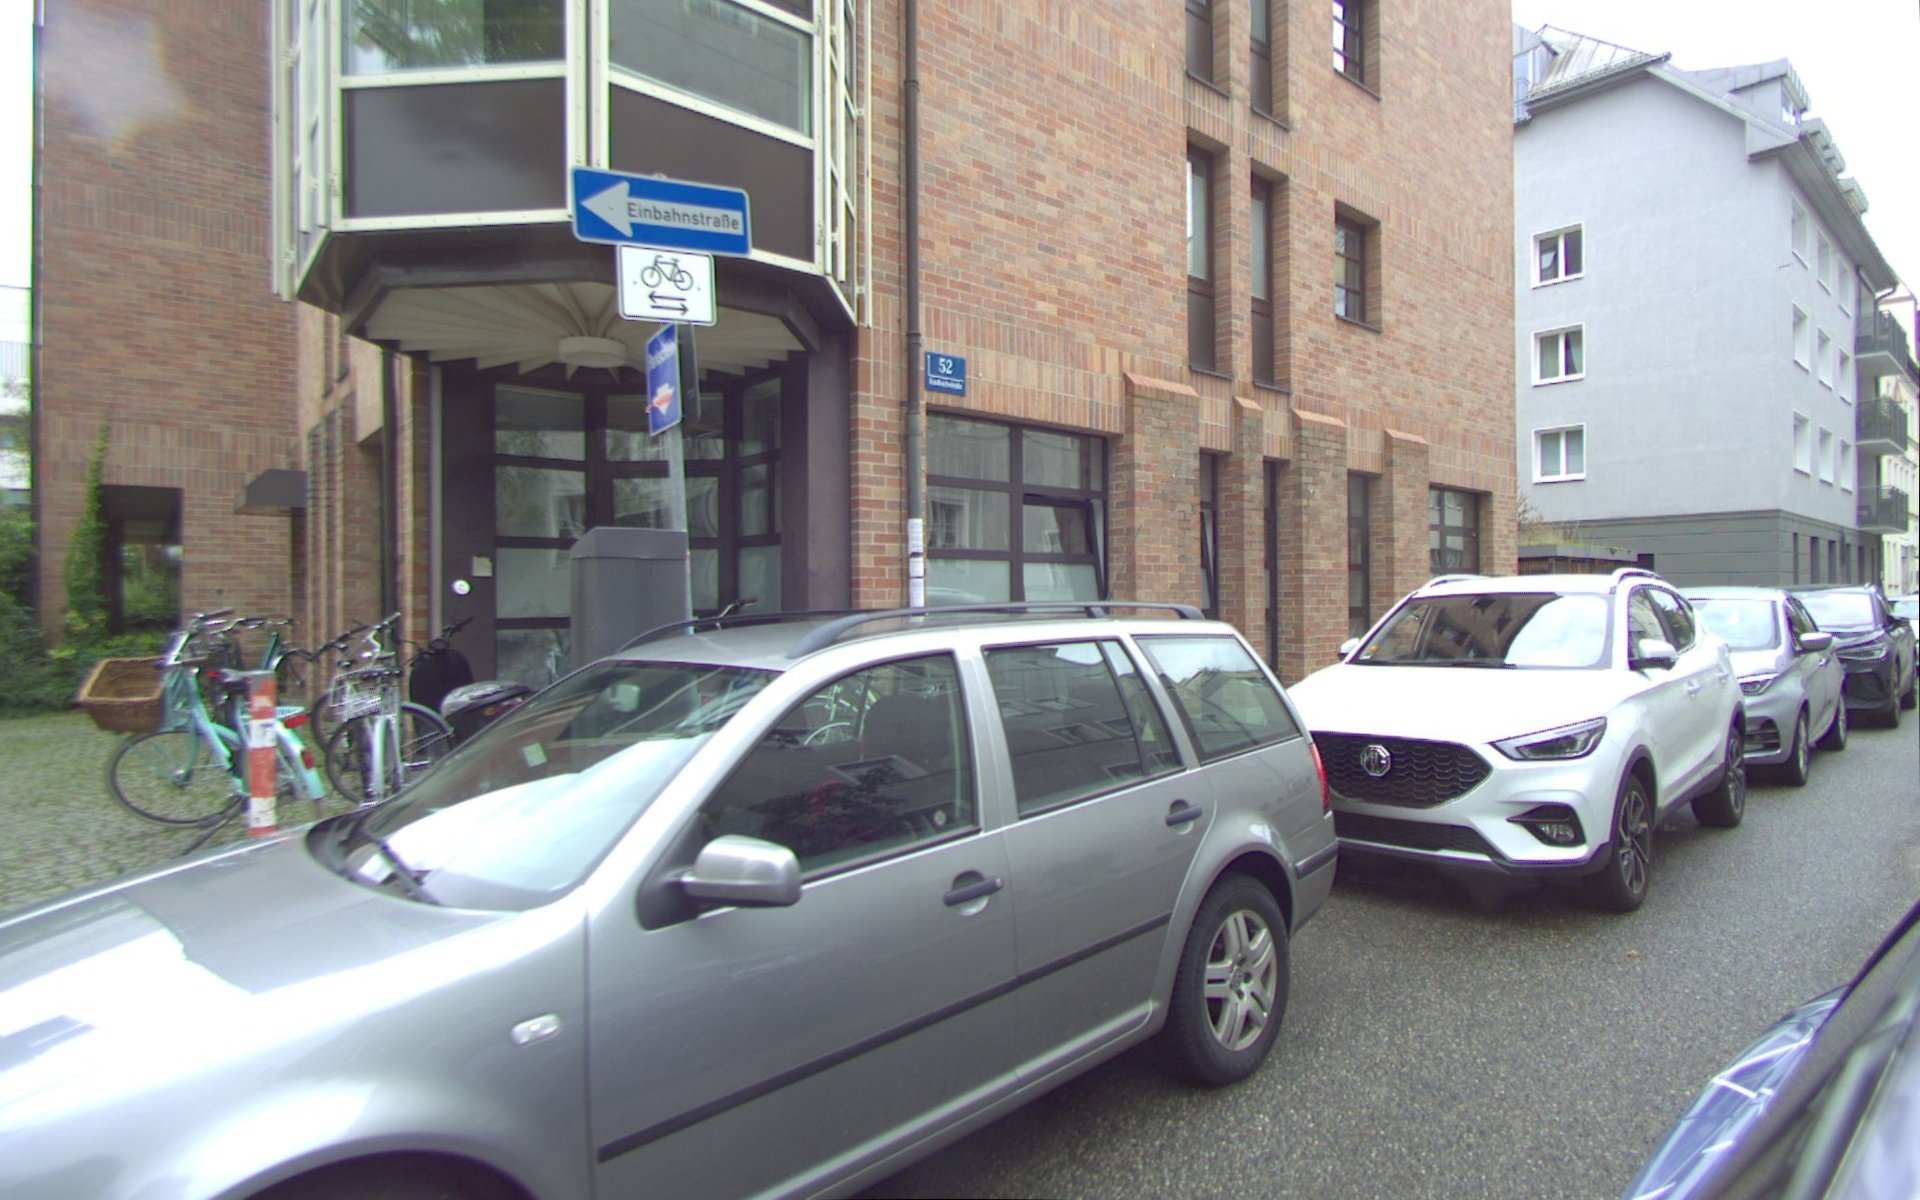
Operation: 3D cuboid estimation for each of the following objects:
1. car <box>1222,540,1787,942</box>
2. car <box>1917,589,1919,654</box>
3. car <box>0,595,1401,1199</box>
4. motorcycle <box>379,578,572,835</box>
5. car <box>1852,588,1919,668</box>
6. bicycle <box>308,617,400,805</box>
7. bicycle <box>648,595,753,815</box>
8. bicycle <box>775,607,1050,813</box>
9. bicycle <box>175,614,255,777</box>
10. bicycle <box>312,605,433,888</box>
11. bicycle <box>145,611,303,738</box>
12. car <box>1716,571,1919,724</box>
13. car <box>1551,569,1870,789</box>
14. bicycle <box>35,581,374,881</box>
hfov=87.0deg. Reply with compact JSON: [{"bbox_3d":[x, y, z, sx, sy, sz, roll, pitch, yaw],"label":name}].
[{"bbox_3d":[3.604,0.567,6.262,4.379,1.636,1.722,-1,-1,-43],"label":"car"},{"bbox_3d":[22.074,0.431,22.281,2.638,1.393,1.153,-1,-1,-41],"label":"car"},{"bbox_3d":[-0.606,0.753,2.767,4.285,1.453,1.722,-1,-1,-43],"label":"car"},{"bbox_3d":[-3.109,0.574,6.409,1.760,1.402,0.543,2,1,45],"label":"motorcycle"},{"bbox_3d":[18.094,0.473,18.916,3.750,1.394,1.617,-1,-1,-41],"label":"car"},{"bbox_3d":[-4.167,0.678,6.911,0.434,1.086,1.754,0,0,-34],"label":"bicycle"},{"bbox_3d":[-1.714,0.611,6.890,0.581,1.245,1.881,-1,1,-11],"label":"bicycle"},{"bbox_3d":[-0.321,0.687,7.014,1.744,1.232,0.744,-1,1,-27],"label":"bicycle"},{"bbox_3d":[-5.785,0.675,7.909,0.434,1.086,1.887,0,0,-34],"label":"bicycle"},{"bbox_3d":[-3.176,0.665,5.409,0.434,1.201,1.755,0,2,-34],"label":"bicycle"},{"bbox_3d":[-6.918,0.660,9.587,0.434,1.086,1.426,0,0,2],"label":"bicycle"},{"bbox_3d":[10.807,0.490,12.511,3.983,1.600,1.616,-1,-1,-43],"label":"car"},{"bbox_3d":[6.875,0.561,9.134,3.743,1.577,1.616,-1,-1,-43],"label":"car"},{"bbox_3d":[-3.882,0.589,5.177,1.785,1.339,0.583,-1,1,25],"label":"bicycle"}]
